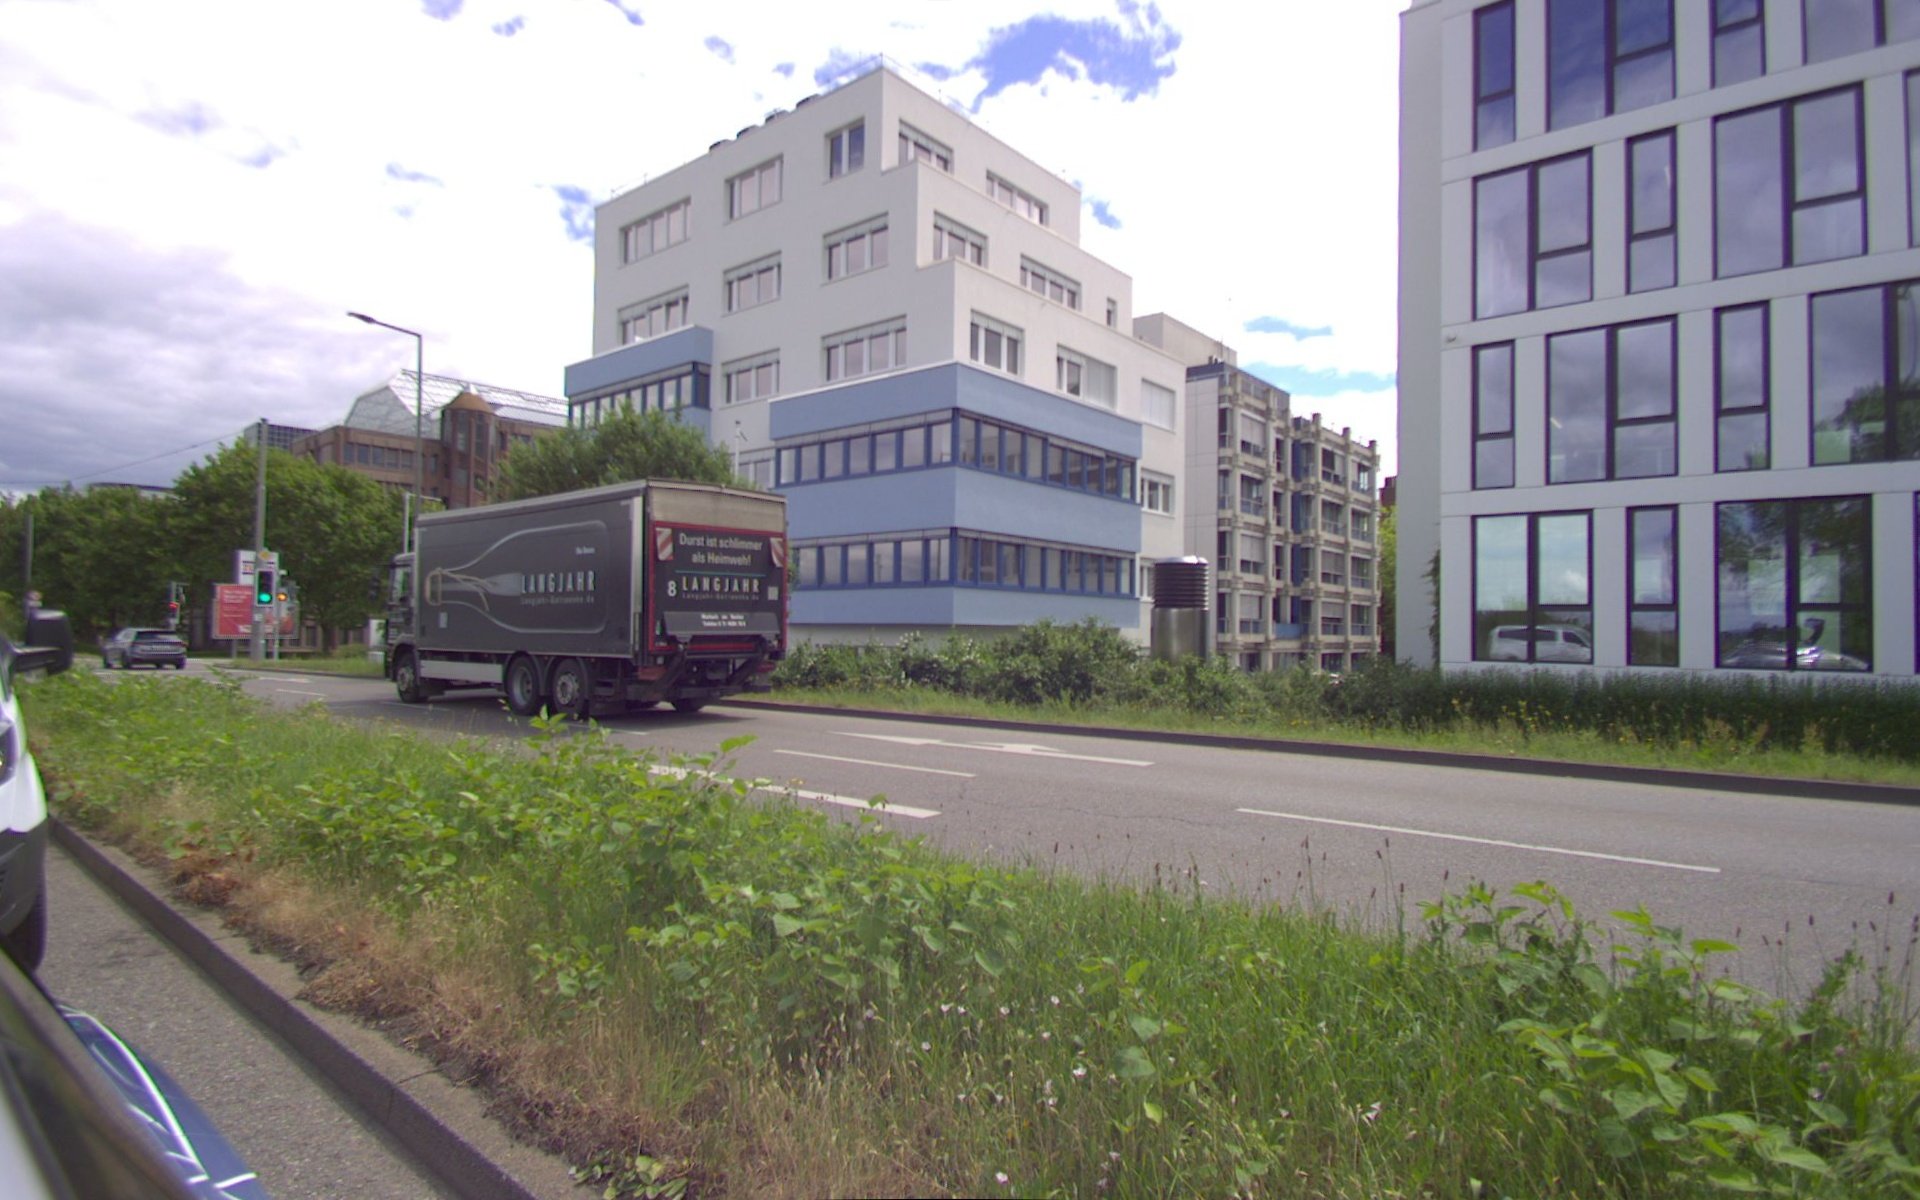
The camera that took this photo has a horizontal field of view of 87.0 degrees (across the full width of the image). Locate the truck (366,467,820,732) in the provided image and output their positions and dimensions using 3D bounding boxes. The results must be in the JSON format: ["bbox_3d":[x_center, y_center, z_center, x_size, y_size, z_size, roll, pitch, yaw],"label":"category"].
[{"bbox_3d":[-6.876,0.142,17.815,9.517,3.545,3.136,-2,-2,40],"label":"truck"}]

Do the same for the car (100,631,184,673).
[{"bbox_3d":[-28.729,1.786,35.533,3.775,1.393,1.538,-2,-2,39],"label":"car"}]

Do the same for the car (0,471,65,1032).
[{"bbox_3d":[-5.782,0.576,4.608,5.052,1.965,1.942,-2,-1,41],"label":"car"}]
